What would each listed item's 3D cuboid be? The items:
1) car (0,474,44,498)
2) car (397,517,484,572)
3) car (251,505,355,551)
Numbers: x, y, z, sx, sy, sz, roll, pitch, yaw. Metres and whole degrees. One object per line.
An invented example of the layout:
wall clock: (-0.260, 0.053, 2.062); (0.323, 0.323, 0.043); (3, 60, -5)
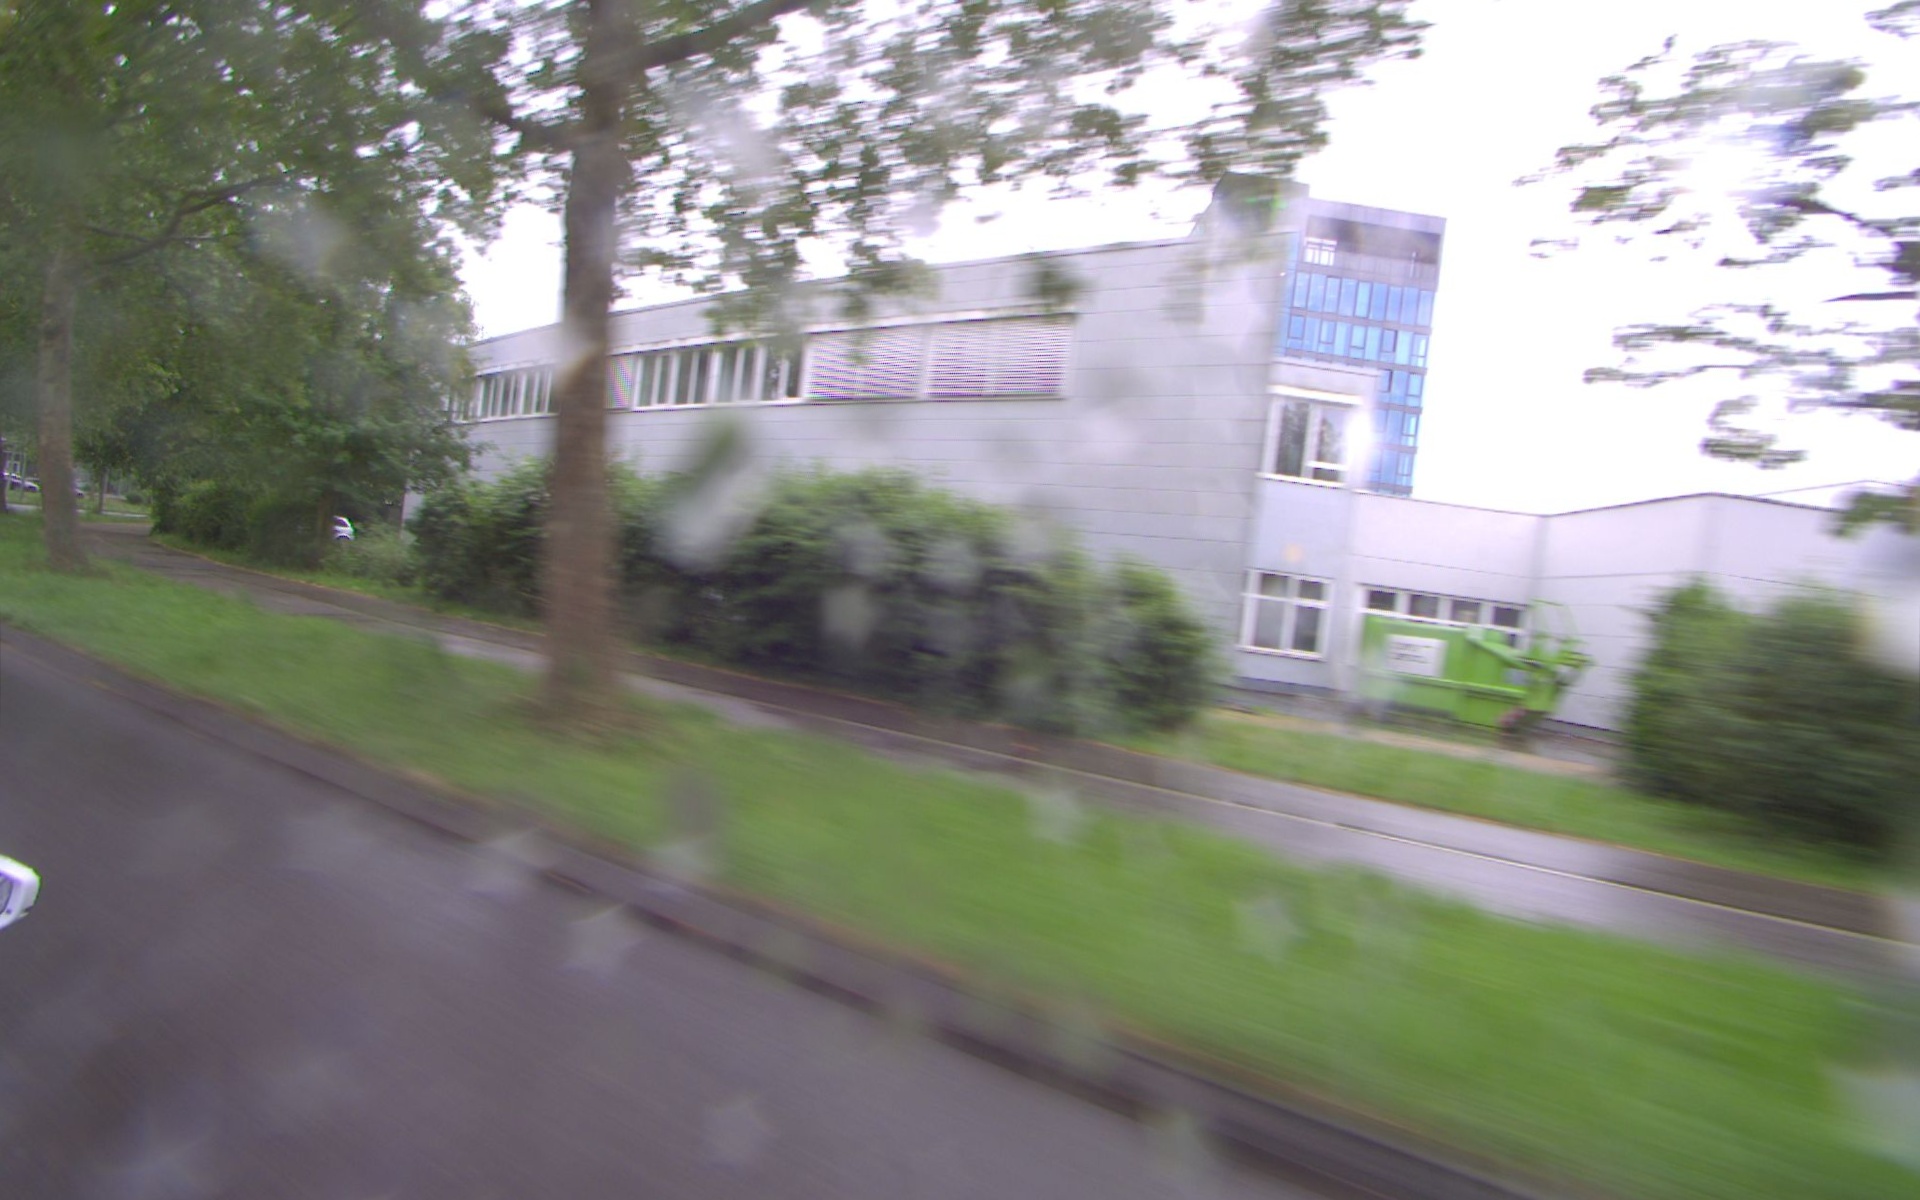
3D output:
car: (-105.027, -12.801, 111.925); (1.815, 1.493, 4.137); (14, -3, 28)
car: (-20.687, -2.223, 40.010); (4.101, 1.601, 1.759); (10, 1, 45)
car: (-33.750, -3.706, 51.744); (1.897, 1.671, 3.985); (7, -1, 40)
